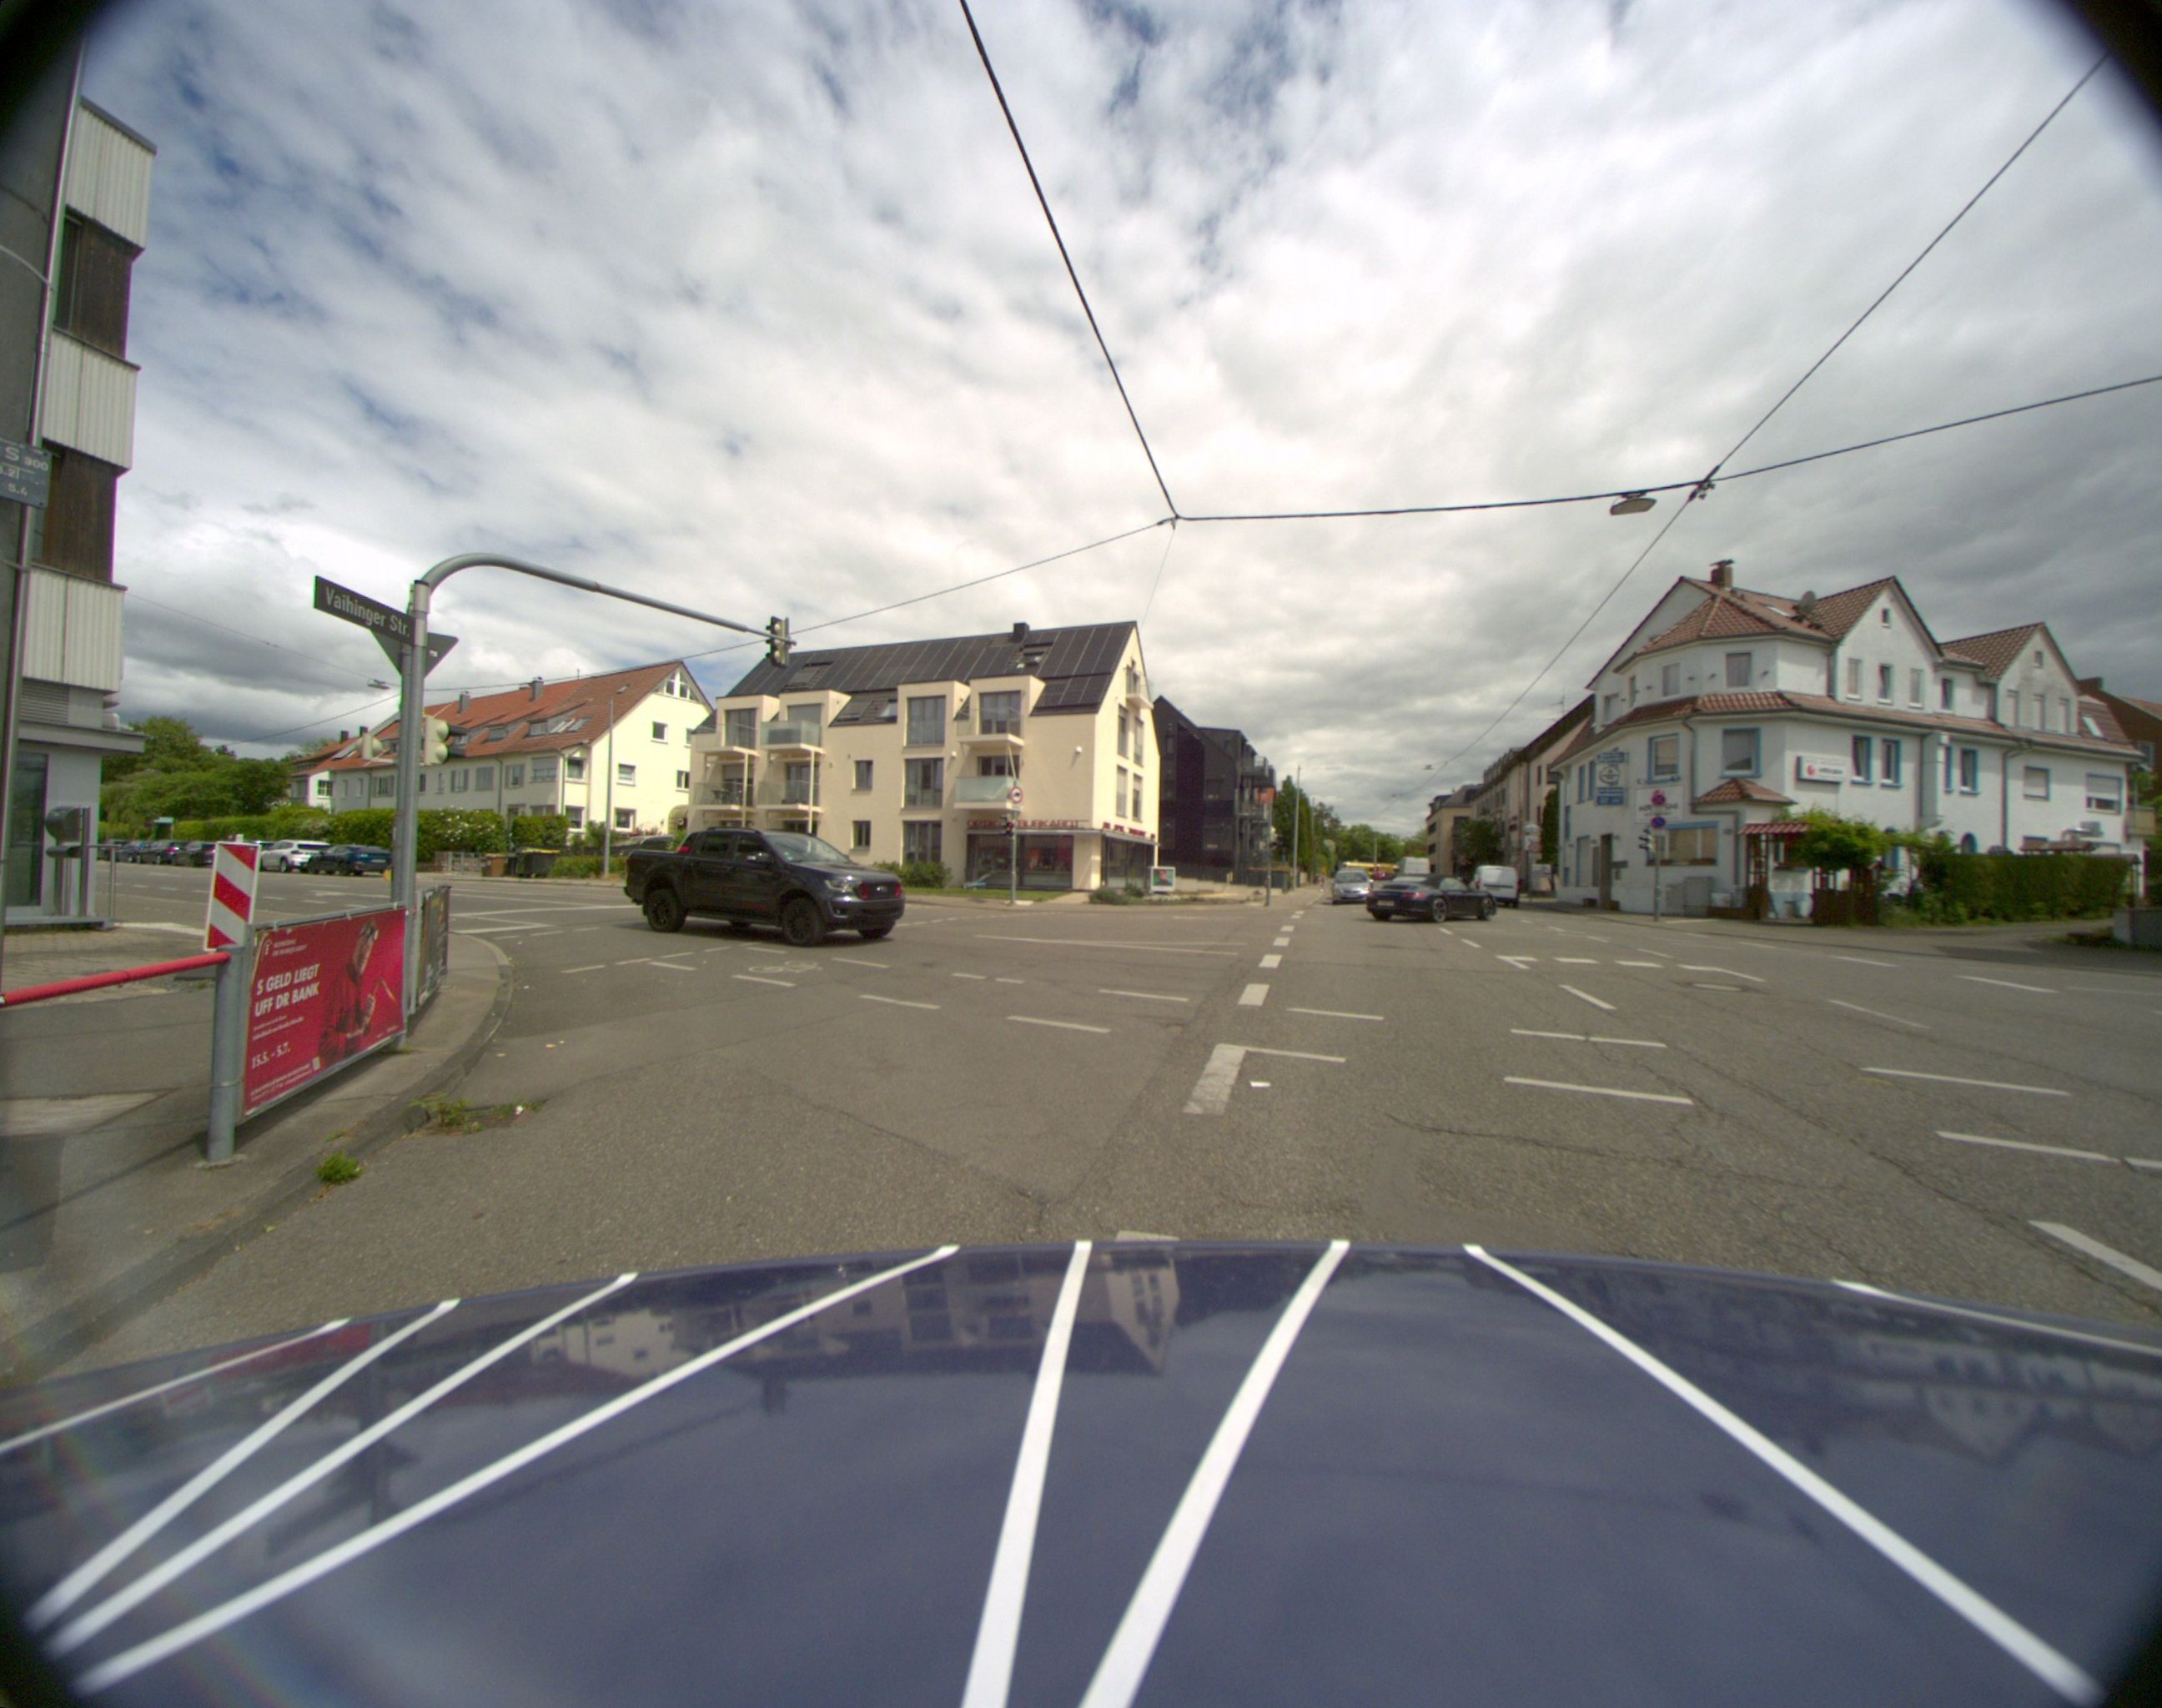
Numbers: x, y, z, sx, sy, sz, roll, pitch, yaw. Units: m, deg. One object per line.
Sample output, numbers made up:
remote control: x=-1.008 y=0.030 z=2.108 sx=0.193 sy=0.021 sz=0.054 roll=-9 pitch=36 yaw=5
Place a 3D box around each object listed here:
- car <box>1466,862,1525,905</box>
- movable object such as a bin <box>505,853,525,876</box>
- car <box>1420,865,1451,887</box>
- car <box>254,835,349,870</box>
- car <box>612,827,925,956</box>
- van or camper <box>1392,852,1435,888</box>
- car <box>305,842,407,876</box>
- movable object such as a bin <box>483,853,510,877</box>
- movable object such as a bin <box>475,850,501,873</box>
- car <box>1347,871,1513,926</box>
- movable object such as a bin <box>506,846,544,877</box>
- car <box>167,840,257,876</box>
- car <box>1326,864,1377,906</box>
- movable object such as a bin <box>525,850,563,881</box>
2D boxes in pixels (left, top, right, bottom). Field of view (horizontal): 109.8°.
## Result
car: x=18.992 y=1.338 z=34.973 sx=1.817 sy=1.801 sz=4.427 roll=2 pitch=-1 yaw=22
movable object such as a bin: x=-26.836 y=0.503 z=36.017 sx=0.523 sy=1.059 sz=0.655 roll=1 pitch=0 yaw=-13
car: x=33.216 y=2.031 z=71.273 sx=1.996 sy=2.002 sz=4.006 roll=2 pitch=0 yaw=17
car: x=-39.355 y=-0.097 z=38.364 sx=4.441 sy=1.623 sz=2.004 roll=1 pitch=0 yaw=25
car: x=-5.383 y=0.522 z=12.952 sx=5.206 sy=1.838 sz=1.892 roll=1 pitch=0 yaw=26
van or camper: x=26.321 y=1.251 z=60.317 sx=2.110 sy=2.571 sz=5.652 roll=4 pitch=0 yaw=14
car: x=-34.191 y=0.227 z=35.845 sx=4.442 sy=1.492 sz=1.823 roll=1 pitch=0 yaw=23
movable object such as a bin: x=-27.302 y=0.519 z=35.491 sx=0.690 sy=1.059 sz=0.766 roll=2 pitch=0 yaw=33
movable object such as a bin: x=-27.945 y=0.338 z=35.797 sx=0.690 sy=1.059 sz=0.766 roll=2 pitch=0 yaw=33
car: x=9.495 y=1.148 z=20.622 sx=4.311 sy=1.275 sz=1.995 roll=1 pitch=0 yaw=-31
movable object such as a bin: x=-26.004 y=0.355 z=35.559 sx=0.978 sy=1.438 sz=1.095 roll=2 pitch=0 yaw=25
car: x=-48.468 y=0.202 z=42.367 sx=4.225 sy=1.621 sz=2.006 roll=1 pitch=-8 yaw=25
car: x=12.164 y=1.344 z=34.278 sx=1.995 sy=1.674 sz=4.006 roll=2 pitch=0 yaw=19
movable object such as a bin: x=-24.591 y=0.515 z=34.803 sx=0.978 sy=1.354 sz=1.095 roll=2 pitch=0 yaw=25
